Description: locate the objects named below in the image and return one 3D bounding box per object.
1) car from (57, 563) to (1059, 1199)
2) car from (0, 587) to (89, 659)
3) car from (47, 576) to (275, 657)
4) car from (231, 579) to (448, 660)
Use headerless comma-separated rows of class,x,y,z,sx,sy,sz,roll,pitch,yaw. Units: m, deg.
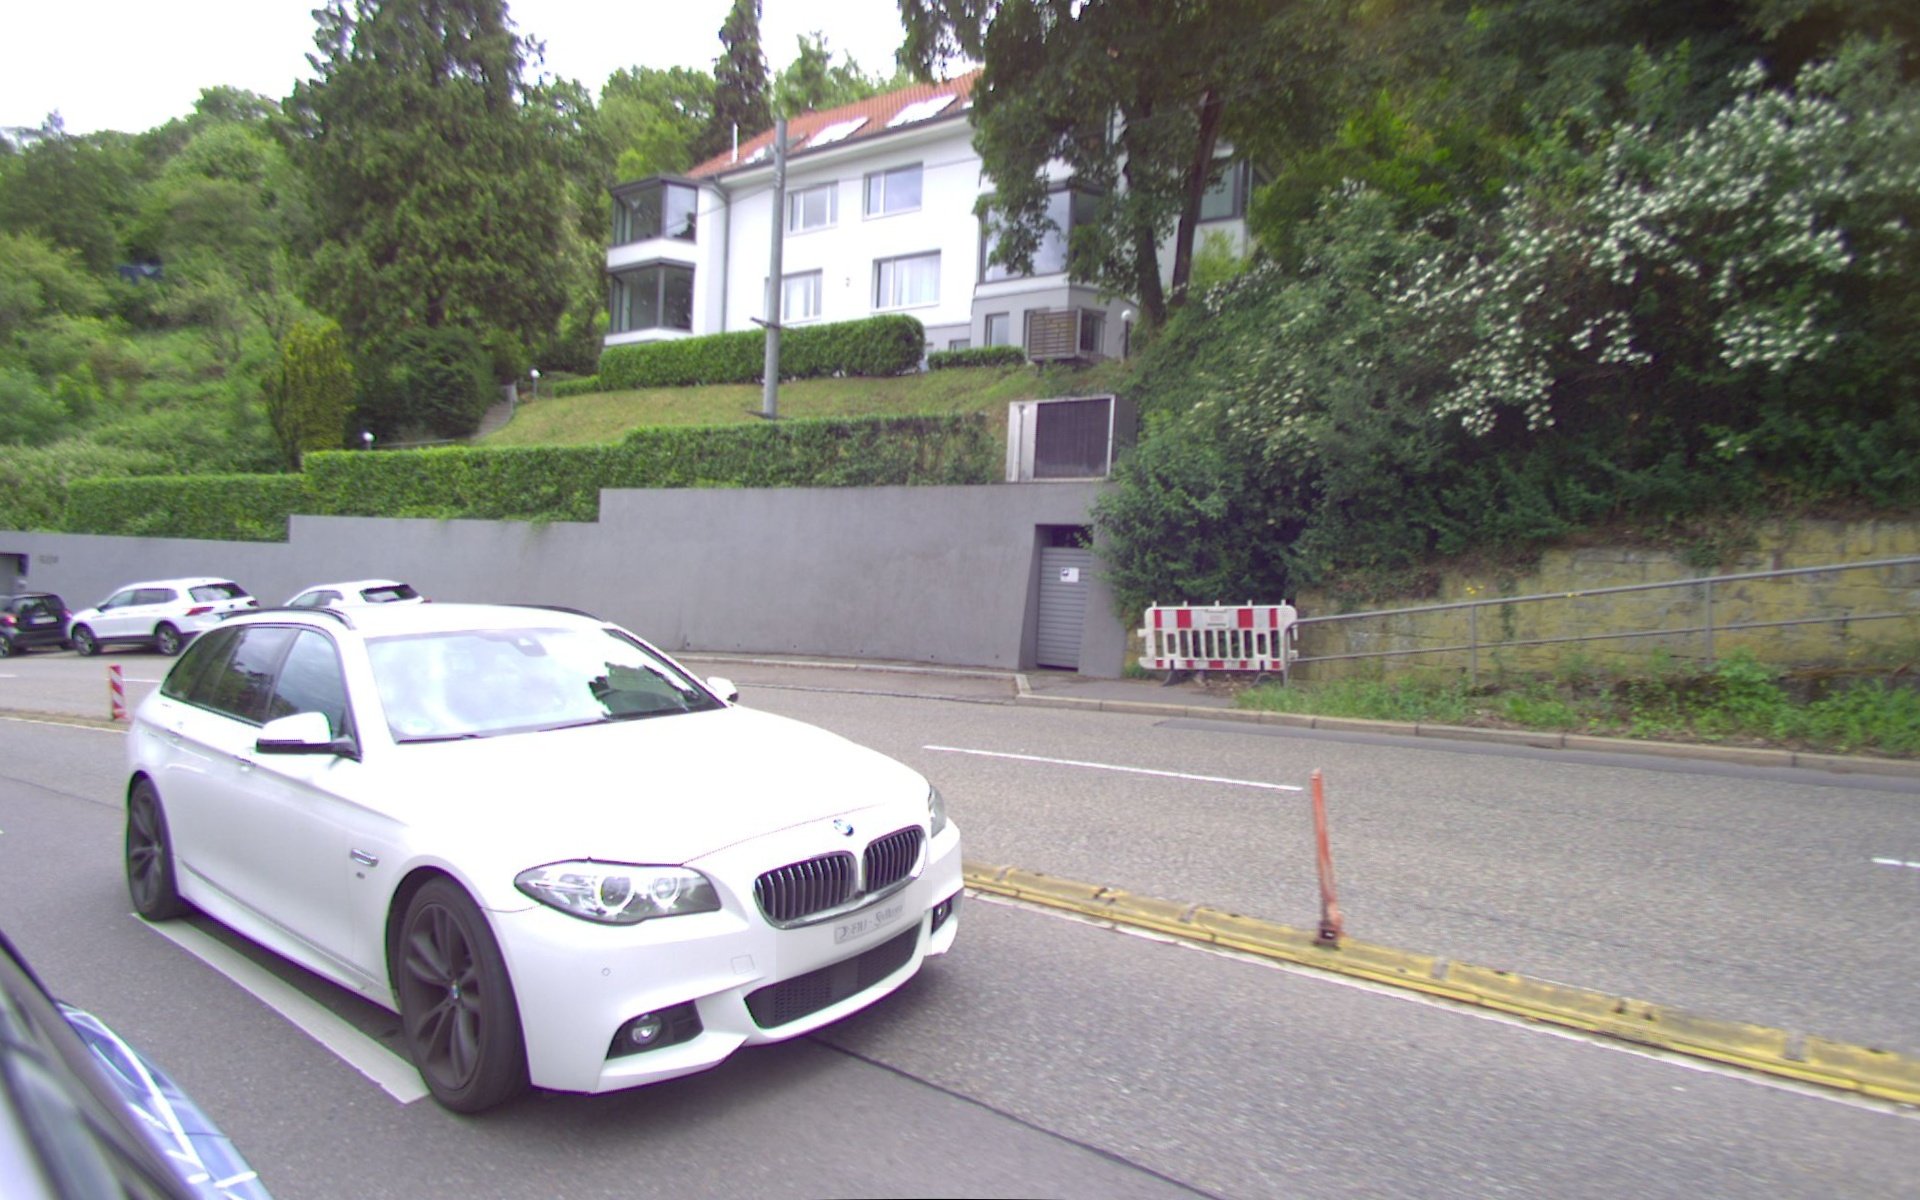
car,-2.125,0.626,4.469,4.870,1.477,1.831,1,3,37
car,-23.812,0.579,25.269,2.930,1.584,1.709,-2,4,15
car,-19.050,0.364,24.160,4.719,1.744,1.855,-1,3,17
car,-13.619,0.373,22.202,4.447,1.584,1.824,0,3,24
